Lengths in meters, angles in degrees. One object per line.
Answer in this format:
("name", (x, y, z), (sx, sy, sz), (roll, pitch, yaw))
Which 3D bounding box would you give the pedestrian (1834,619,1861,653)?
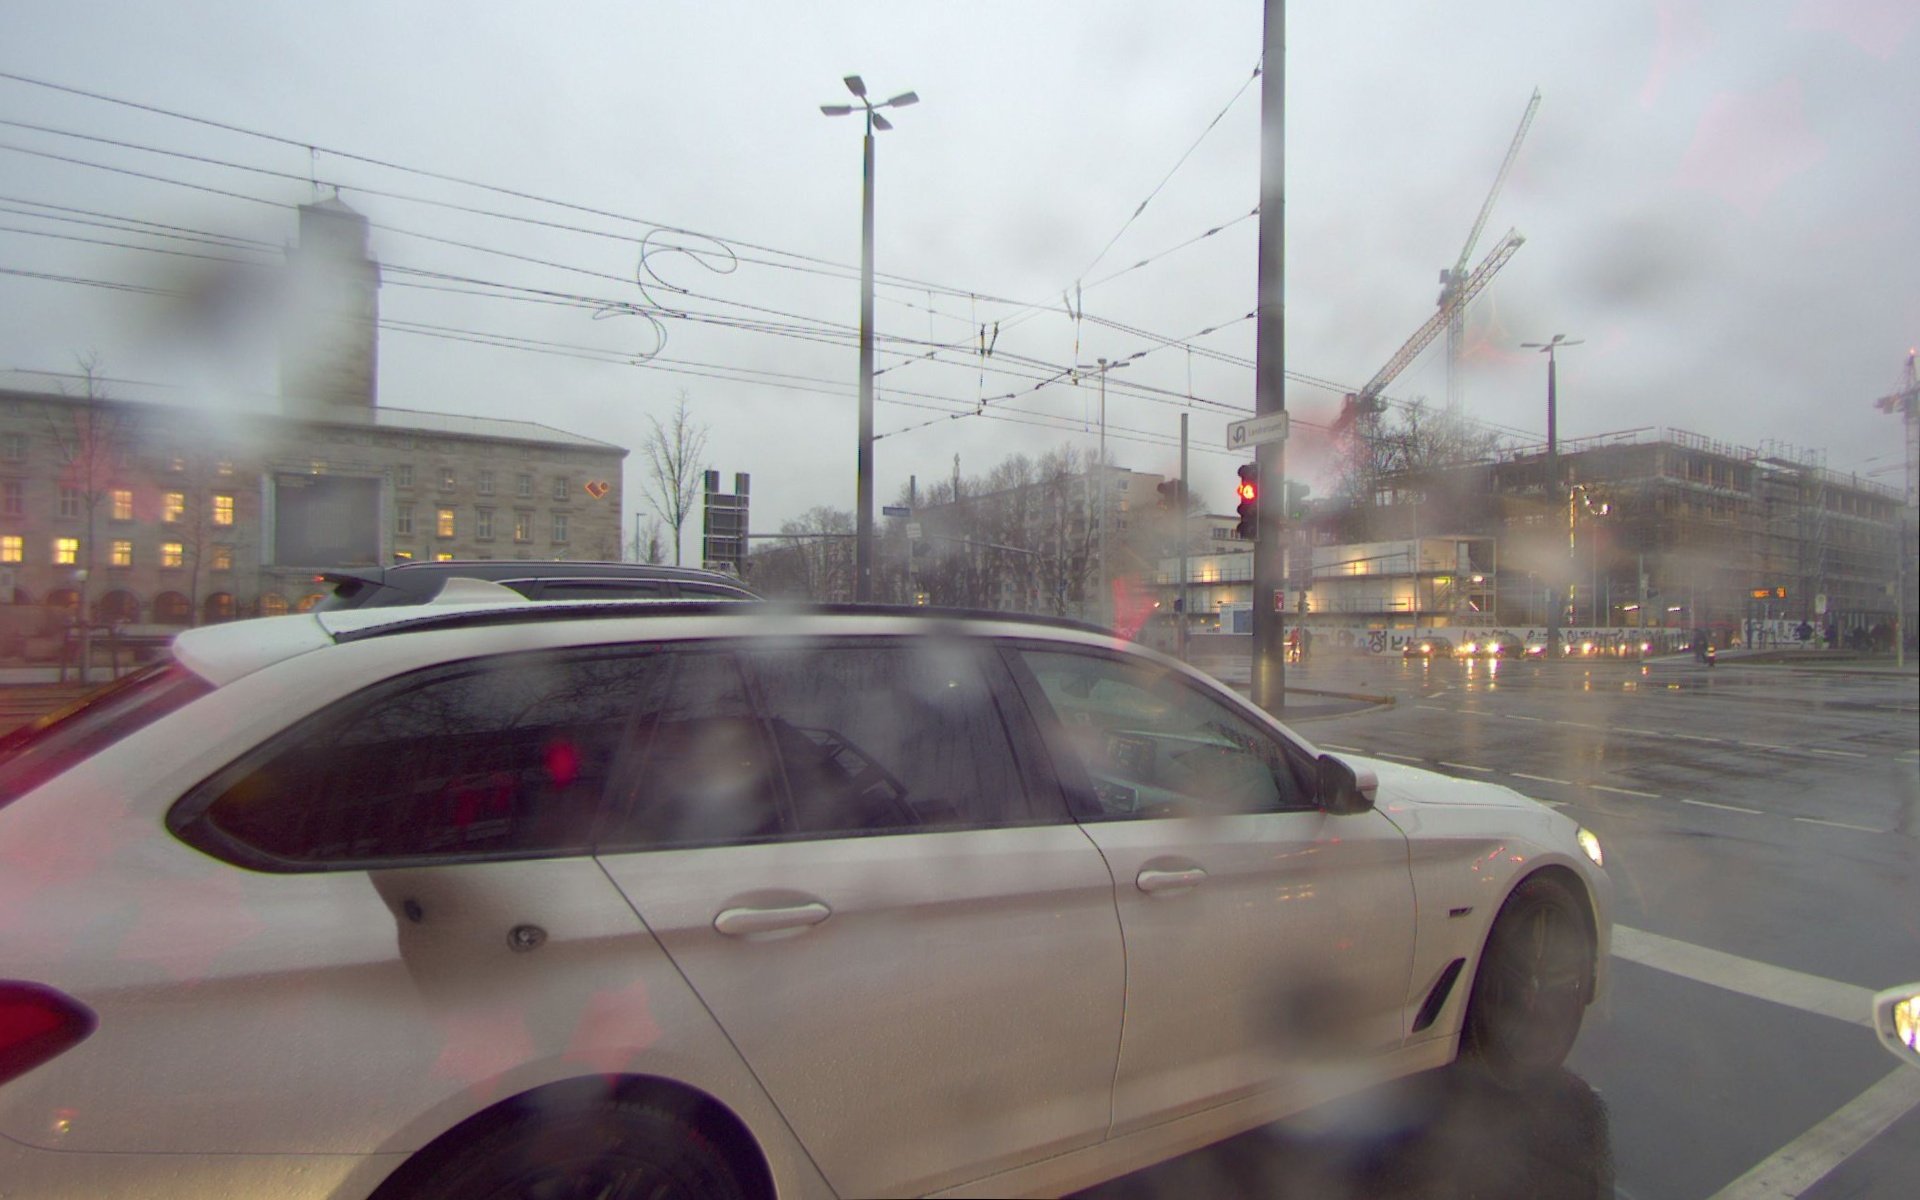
("pedestrian", (54.247, 2.184, 61.394), (1.082, 2.040, 0.937), (2, 0, -31))

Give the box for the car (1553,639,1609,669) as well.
("car", (41.092, 3.537, 66.435), (3.963, 1.852, 1.852), (2, 0, -37))

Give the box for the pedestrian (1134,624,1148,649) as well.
("pedestrian", (14.030, 2.857, 78.017), (0.709, 1.927, 0.787), (1, -1, -31))

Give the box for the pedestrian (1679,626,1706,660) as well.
("pedestrian", (31.350, 1.841, 42.990), (0.716, 1.407, 0.725), (2, 0, 19))

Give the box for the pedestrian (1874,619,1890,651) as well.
("pedestrian", (57.977, 2.194, 63.159), (0.659, 1.994, 0.566), (2, 1, -36))

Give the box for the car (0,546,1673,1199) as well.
("car", (-0.024, 0.752, 3.092), (4.508, 1.506, 2.007), (2, -2, -31))

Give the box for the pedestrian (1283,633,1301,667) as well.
("pedestrian", (20.509, 3.067, 62.031), (0.616, 2.040, 0.861), (2, 0, -20))

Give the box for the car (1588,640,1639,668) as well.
("car", (45.210, 3.700, 69.454), (3.970, 1.814, 1.975), (2, 0, -42))

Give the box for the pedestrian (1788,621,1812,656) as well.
("pedestrian", (47.693, 2.176, 57.028), (0.754, 1.922, 0.761), (3, -1, -30))

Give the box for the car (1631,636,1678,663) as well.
("car", (50.486, 3.546, 72.997), (3.970, 1.814, 1.975), (2, 0, -42))

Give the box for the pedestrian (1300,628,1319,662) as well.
("pedestrian", (21.430, 2.764, 61.564), (0.737, 2.040, 0.783), (2, 0, -25))

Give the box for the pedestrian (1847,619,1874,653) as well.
("pedestrian", (55.735, 2.233, 62.199), (1.082, 2.040, 0.937), (2, 0, -31))

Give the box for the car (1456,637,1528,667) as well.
("car", (31.297, 3.063, 59.084), (3.953, 1.679, 1.984), (2, -2, -30))

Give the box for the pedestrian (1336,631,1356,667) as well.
("pedestrian", (23.701, 3.005, 61.663), (0.758, 2.194, 0.867), (2, 0, -38))

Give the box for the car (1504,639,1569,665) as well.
("car", (36.029, 3.251, 62.767), (4.577, 1.550, 2.059), (2, -2, -40))

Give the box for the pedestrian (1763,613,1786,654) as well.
("pedestrian", (47.032, 1.932, 58.031), (0.754, 2.354, 0.761), (3, -1, -30))

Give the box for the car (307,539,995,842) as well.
("car", (-2.063, 0.555, 7.236), (4.238, 1.605, 1.958), (2, -1, -29))

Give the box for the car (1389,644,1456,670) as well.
("car", (29.309, 3.602, 63.671), (3.953, 1.550, 1.984), (2, -2, -30))

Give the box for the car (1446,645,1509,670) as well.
("car", (34.831, 3.856, 67.573), (3.953, 1.550, 1.984), (2, -2, -30))

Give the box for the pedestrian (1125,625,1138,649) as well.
("pedestrian", (13.241, 2.873, 77.522), (0.714, 1.800, 0.789), (1, -1, -23))

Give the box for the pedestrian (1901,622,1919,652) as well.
("pedestrian", (65.997, 2.580, 69.581), (1.082, 2.040, 0.937), (2, 0, -31))

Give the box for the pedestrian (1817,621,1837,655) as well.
("pedestrian", (49.919, 2.176, 57.826), (0.547, 1.906, 0.695), (2, 0, -30))
